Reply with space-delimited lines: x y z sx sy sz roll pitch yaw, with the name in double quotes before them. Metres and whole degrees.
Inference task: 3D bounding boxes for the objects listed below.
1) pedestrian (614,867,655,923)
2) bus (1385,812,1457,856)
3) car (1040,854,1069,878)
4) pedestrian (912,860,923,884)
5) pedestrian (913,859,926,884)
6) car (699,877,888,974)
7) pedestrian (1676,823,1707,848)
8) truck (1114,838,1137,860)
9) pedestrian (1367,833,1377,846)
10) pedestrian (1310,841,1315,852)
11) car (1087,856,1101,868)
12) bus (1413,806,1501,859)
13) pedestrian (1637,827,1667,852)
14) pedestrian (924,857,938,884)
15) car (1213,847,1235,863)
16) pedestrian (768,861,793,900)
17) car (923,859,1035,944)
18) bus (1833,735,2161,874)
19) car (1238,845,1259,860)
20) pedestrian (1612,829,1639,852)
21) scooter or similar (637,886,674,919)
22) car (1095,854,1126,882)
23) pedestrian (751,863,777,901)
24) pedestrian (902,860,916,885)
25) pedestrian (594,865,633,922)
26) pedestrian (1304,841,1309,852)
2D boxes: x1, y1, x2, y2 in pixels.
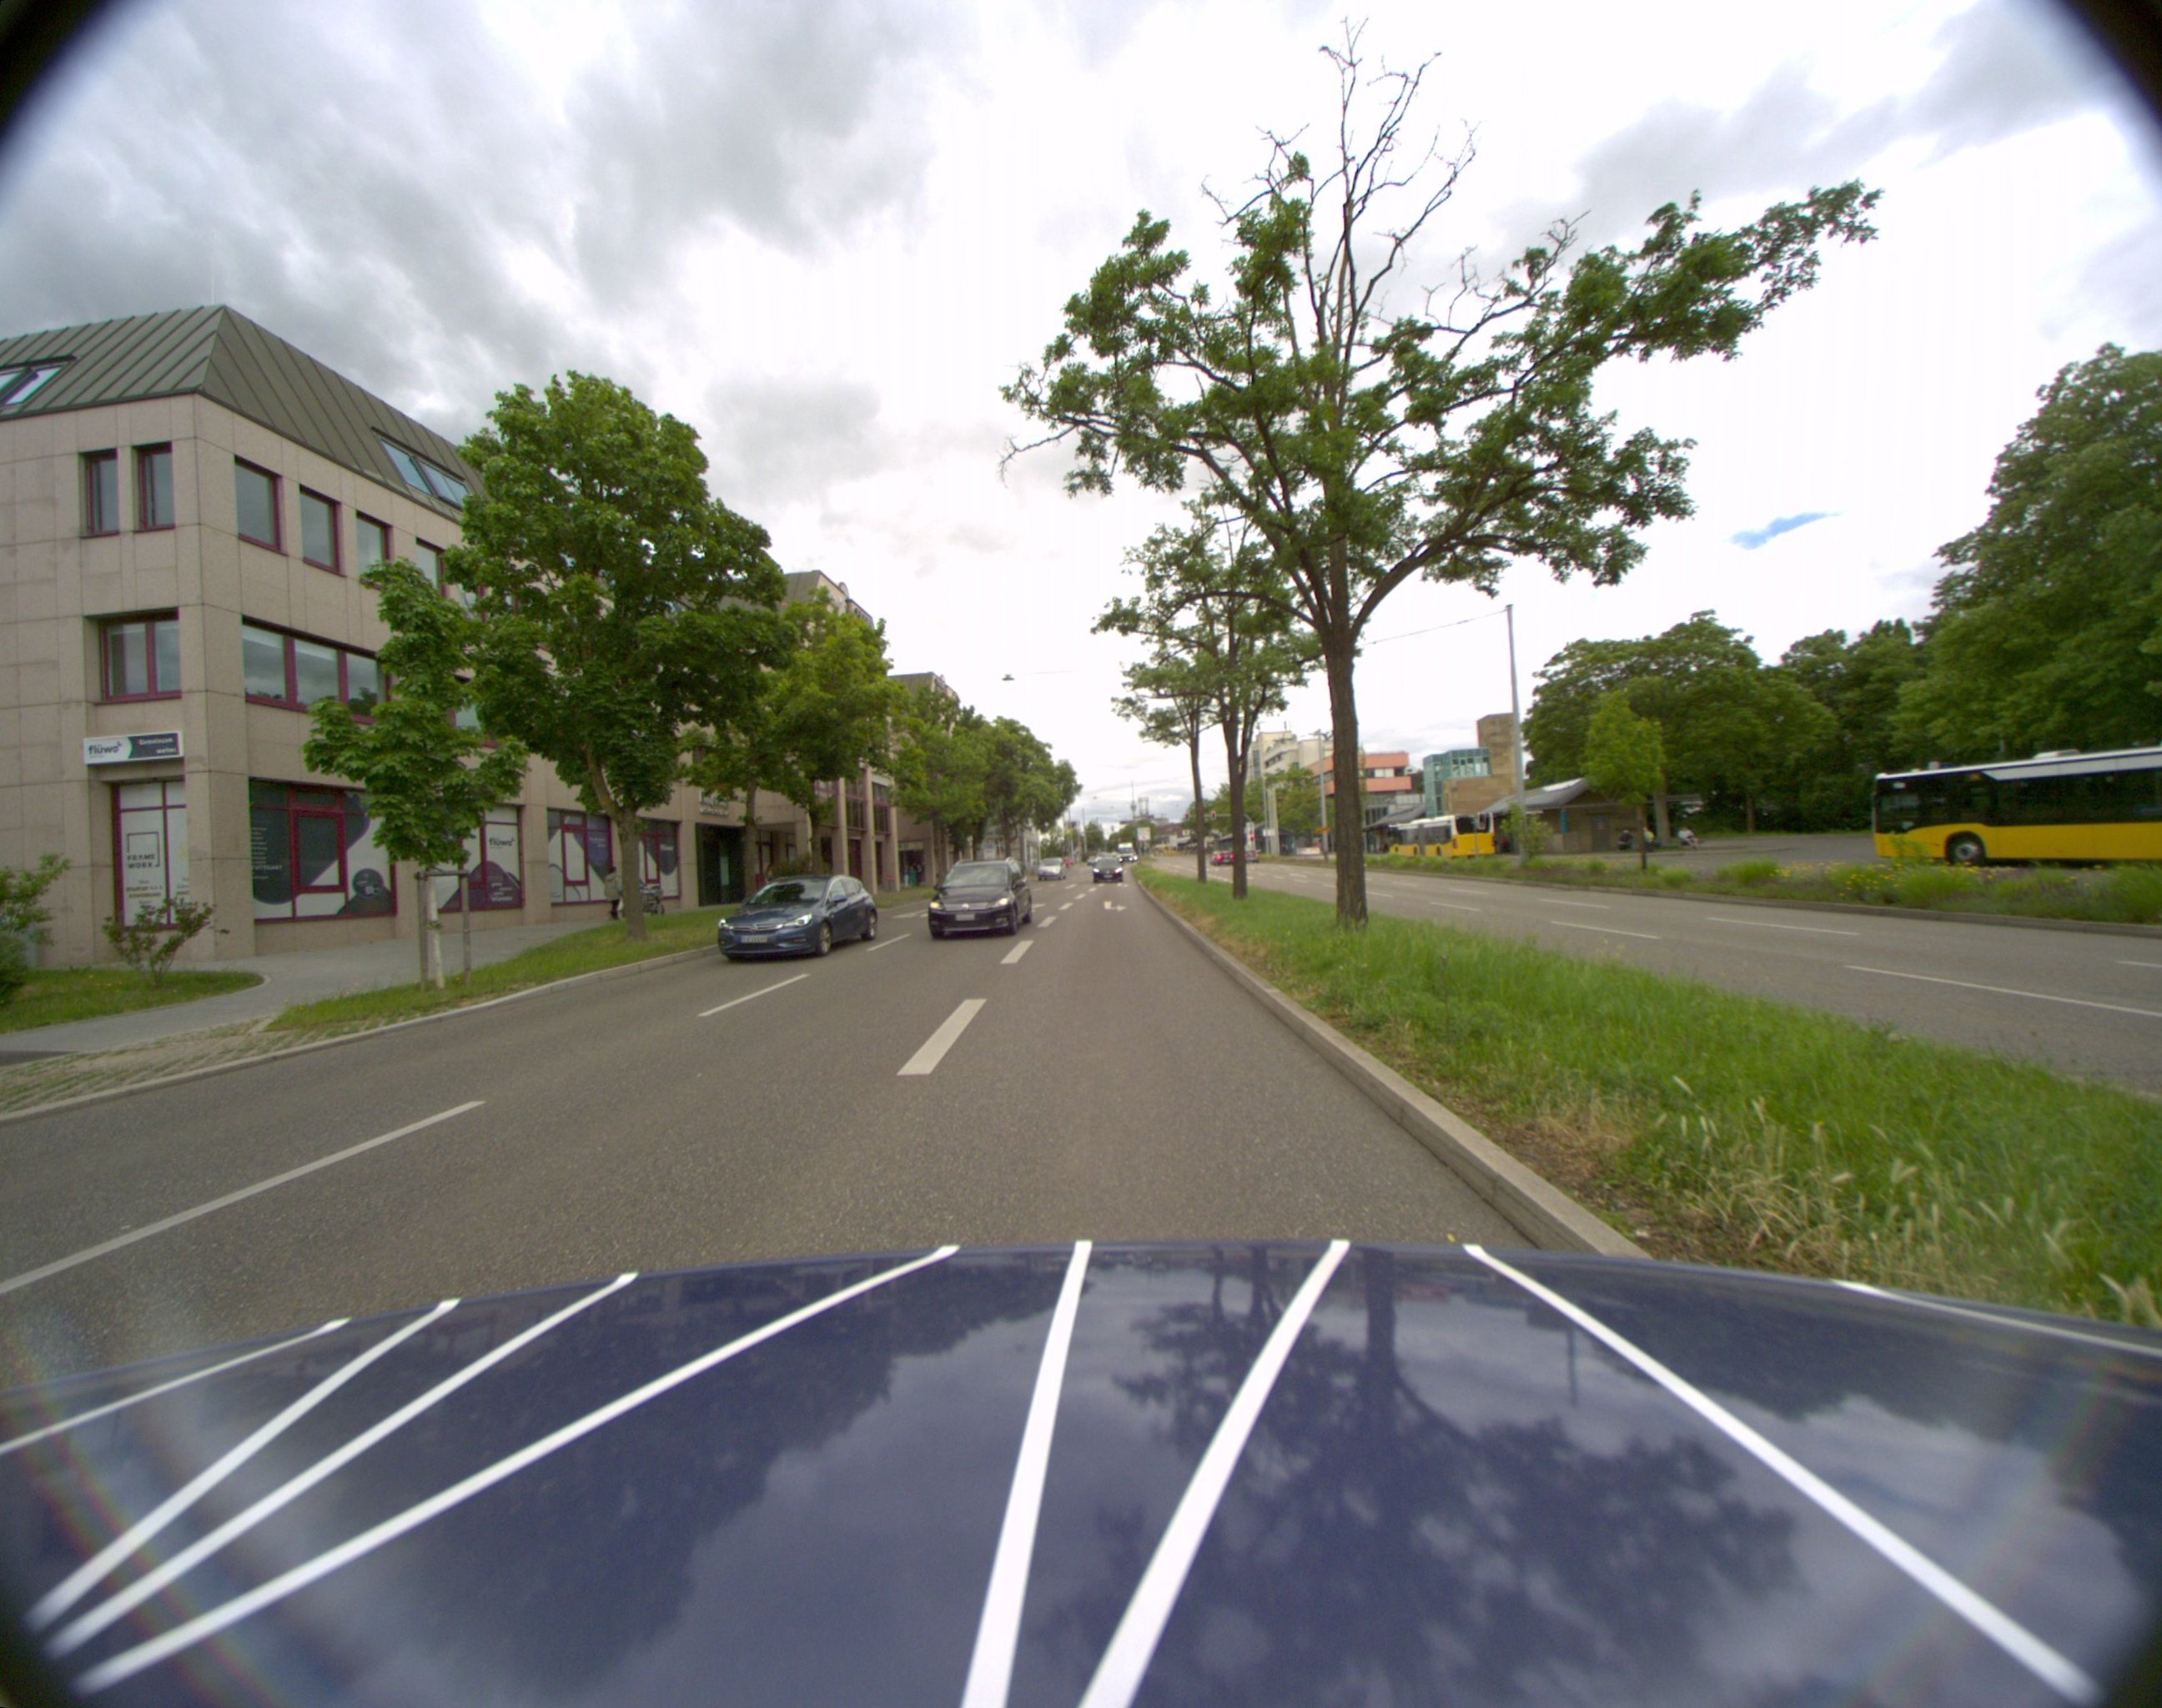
"pedestrian" -13.534 1.218 23.066 0.556 1.643 0.962 -1 1 7
"bus" 27.604 -1.521 62.267 2.781 3.113 9.444 -5 0 9
"car" -1.946 0.849 56.604 1.763 1.625 4.156 -2 0 3
"pedestrian" -10.838 1.201 50.304 0.562 1.541 0.544 -1 1 6
"pedestrian" -11.052 1.207 52.035 0.659 1.681 0.843 -1 1 6
"car" -5.249 1.227 14.573 1.972 1.431 4.312 -1 0 0
"pedestrian" 31.933 -0.938 39.738 0.895 1.247 0.858 -3 1 3
"truck" 7.099 -0.813 121.503 3.118 3.209 6.523 -4 1 1
"pedestrian" 34.419 -1.674 89.869 0.990 1.452 0.592 -3 1 18
"pedestrian" 32.298 -1.026 105.917 0.485 1.539 0.383 -3 1 -6
"car" 2.122 1.265 123.552 2.020 1.760 4.001 -3 0 3
"bus" 26.079 -1.420 53.227 2.814 3.113 9.306 -5 0 10
"pedestrian" 30.409 -0.767 40.464 0.859 1.283 0.894 -3 1 -22
"pedestrian" -10.249 1.145 51.852 0.659 1.815 0.843 -1 1 6
"car" 14.714 0.056 78.194 1.662 1.499 3.769 -3 1 2
"pedestrian" -13.654 1.204 34.545 0.596 1.695 0.970 -3 1 6
"car" -2.178 0.972 17.444 1.972 1.631 4.312 -2 0 0
"bus" 26.156 -1.231 19.692 3.090 3.144 10.739 -4 0 4
"car" 18.544 -0.154 84.099 1.819 1.499 4.001 -3 1 6
"pedestrian" 30.548 -0.767 42.651 0.859 1.247 0.894 -3 1 -27
"scooter or similar" -13.414 1.528 23.974 0.585 0.988 0.847 -1 1 7
"car" 1.822 0.823 46.574 1.763 1.531 4.048 -2 0 3
"pedestrian" -14.388 1.260 34.484 0.596 1.695 0.970 -3 1 6
"pedestrian" -11.824 1.266 52.166 0.659 1.681 0.843 -1 1 6
"pedestrian" -14.366 1.202 23.366 0.568 1.690 0.829 -3 1 6
"pedestrian" 31.525 -1.065 106.067 0.529 1.539 0.754 -3 1 18
